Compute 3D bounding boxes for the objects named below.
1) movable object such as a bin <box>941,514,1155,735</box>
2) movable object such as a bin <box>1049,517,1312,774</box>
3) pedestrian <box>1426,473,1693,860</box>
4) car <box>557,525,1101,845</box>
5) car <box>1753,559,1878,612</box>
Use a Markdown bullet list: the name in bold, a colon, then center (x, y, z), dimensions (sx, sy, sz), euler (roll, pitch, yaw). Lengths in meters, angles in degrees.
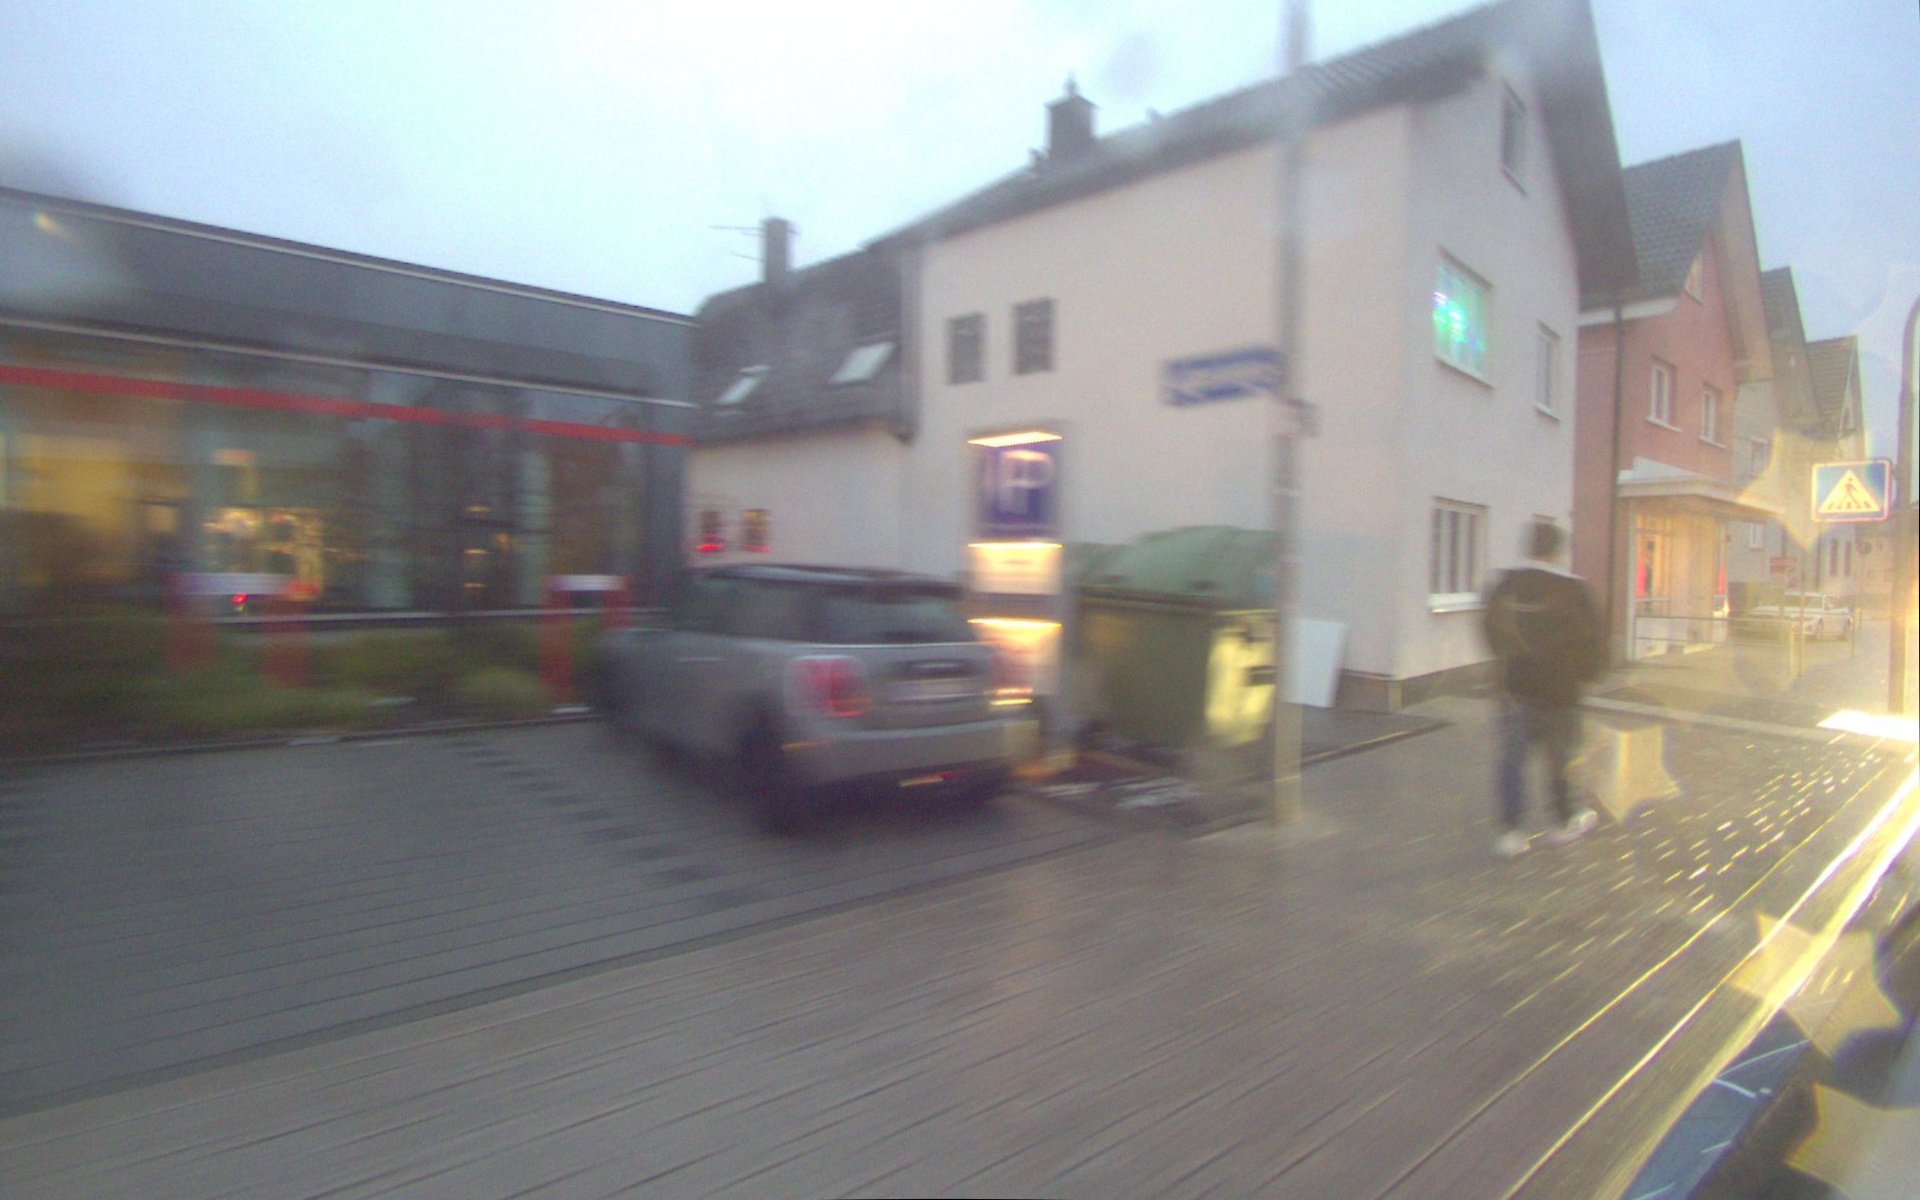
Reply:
- **movable object such as a bin**: center (0.734, 0.149, 8.533), dimensions (1.166, 1.664, 1.286), euler (0, 3, -45)
- **movable object such as a bin**: center (1.621, 0.256, 7.495), dimensions (1.241, 1.664, 1.394), euler (0, 3, -45)
- **pedestrian**: center (3.352, 0.296, 5.669), dimensions (0.990, 1.912, 0.967), euler (0, 4, -45)
- **car**: center (-1.154, 0.303, 6.903), dimensions (1.878, 1.504, 3.997), euler (-1, 3, -39)
- **car**: center (26.312, -0.414, 31.086), dimensions (4.608, 1.504, 1.935), euler (1, 0, -36)
